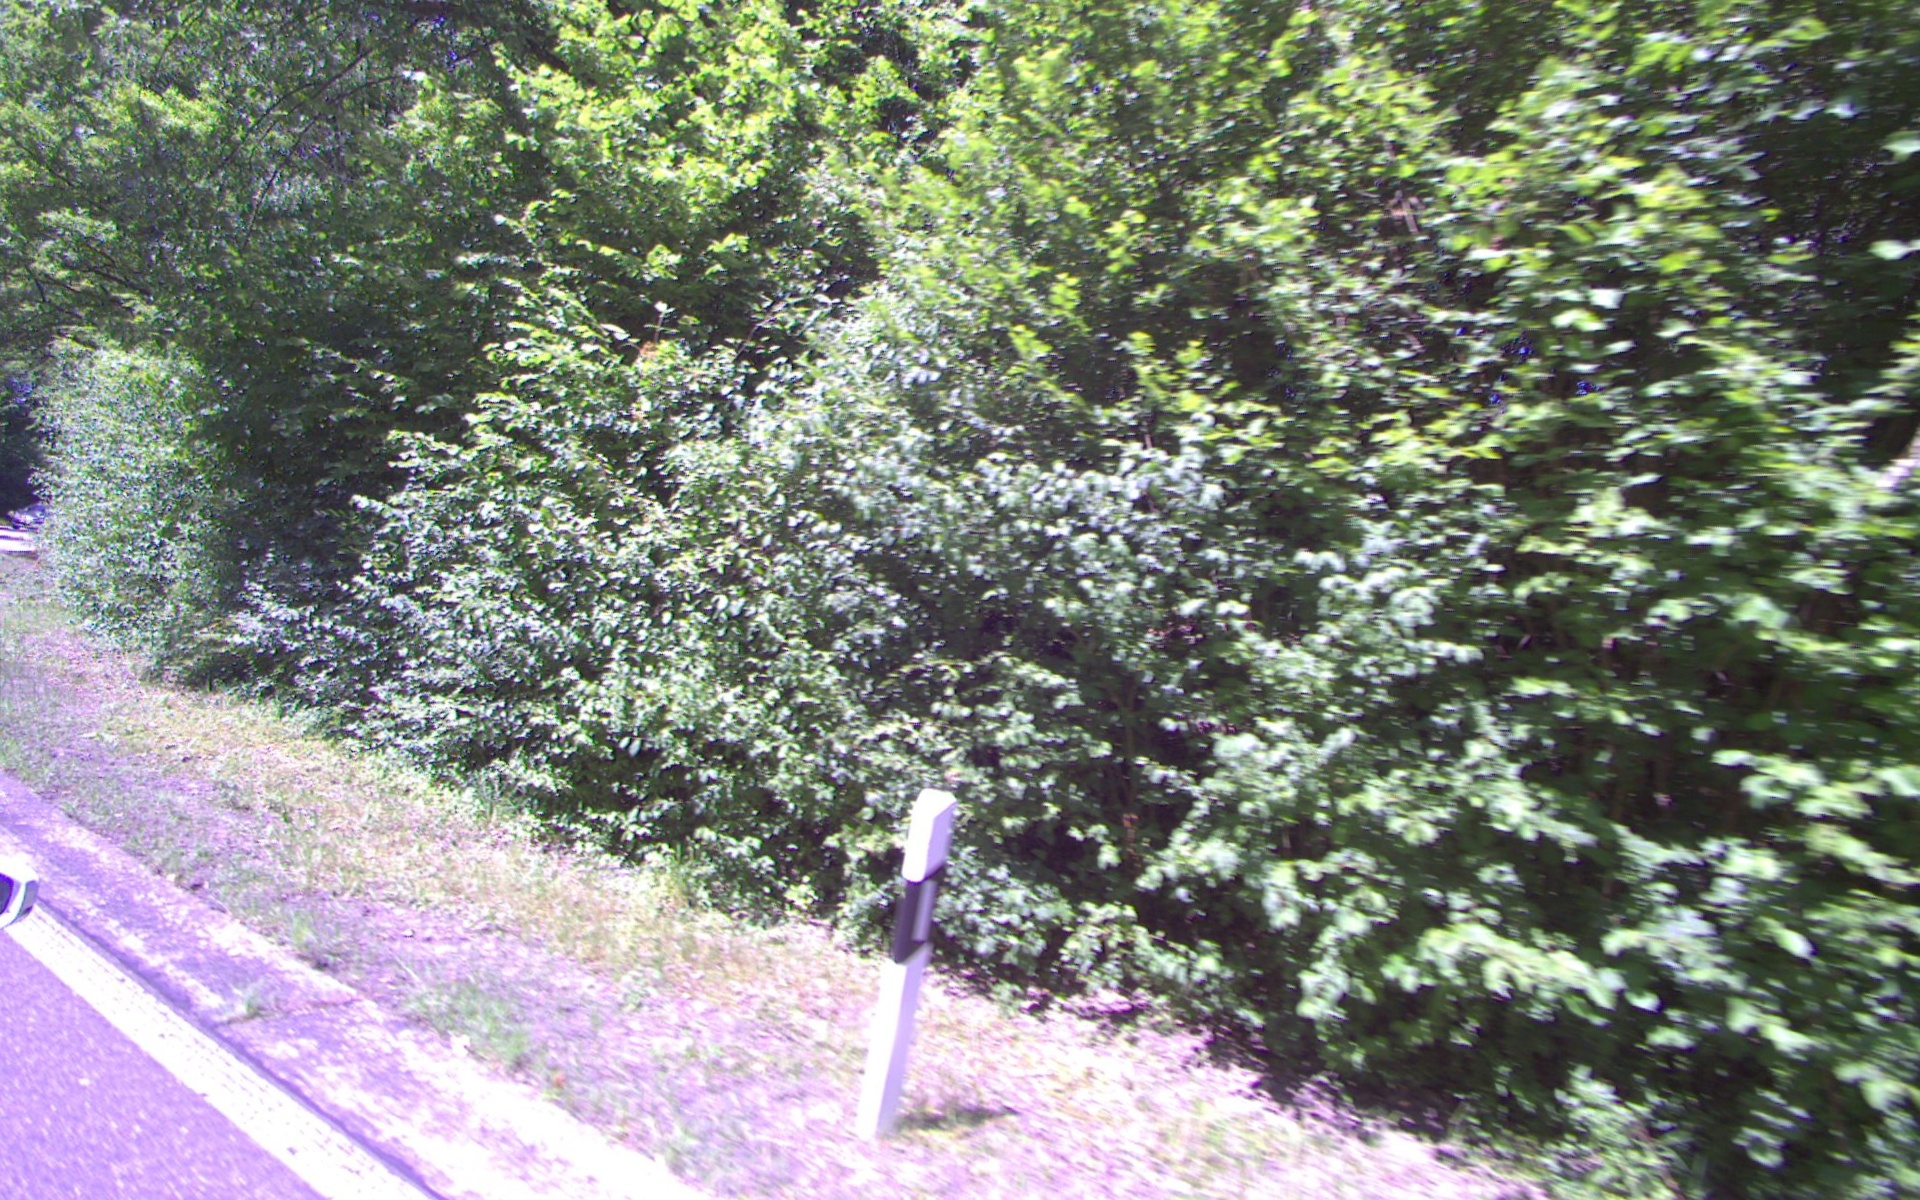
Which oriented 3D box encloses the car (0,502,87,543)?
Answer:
[{"bbox_3d":[-47.973,-4.016,52.652,1.655,1.593,3.887,6,-1,-13],"label":"car"}]
